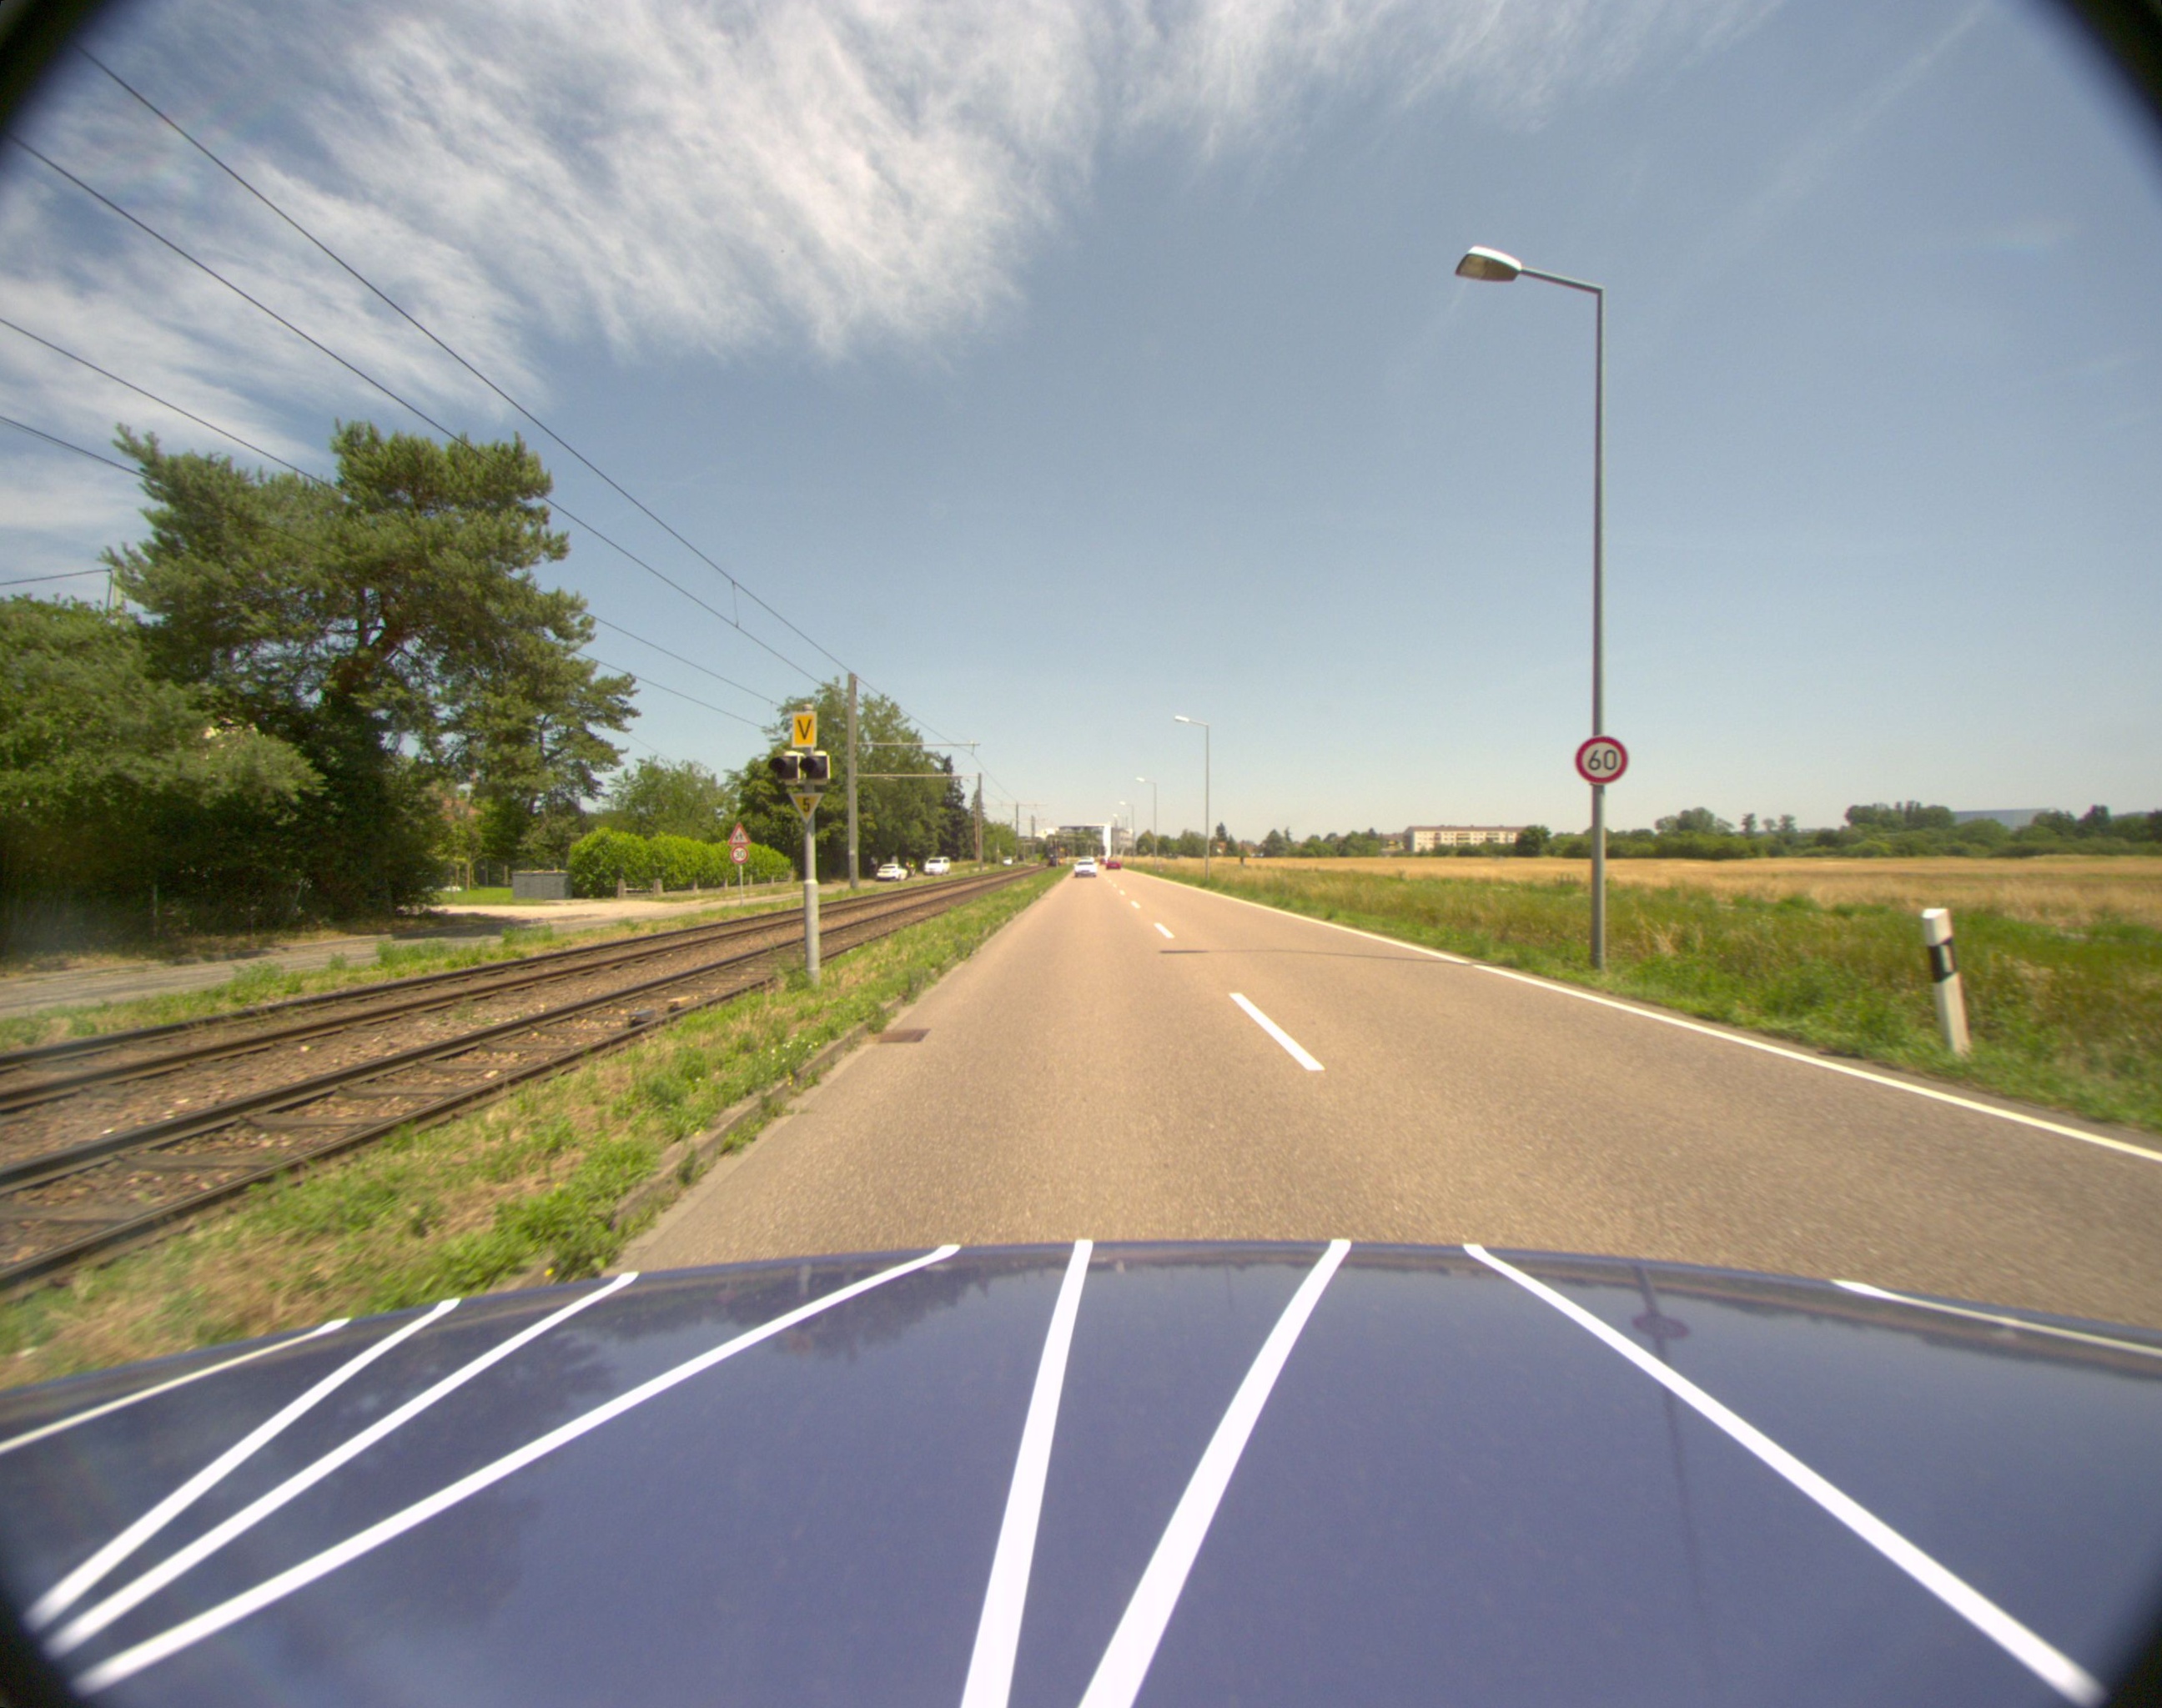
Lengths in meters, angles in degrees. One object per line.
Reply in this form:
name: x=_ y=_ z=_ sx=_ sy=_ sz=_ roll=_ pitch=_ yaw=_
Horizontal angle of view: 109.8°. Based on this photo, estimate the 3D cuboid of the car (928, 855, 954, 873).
car: x=-15.346 y=1.027 z=83.366 sx=1.863 sy=1.816 sz=4.587 roll=-2 pitch=0 yaw=1

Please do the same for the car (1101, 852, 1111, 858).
car: x=6.035 y=0.190 z=181.450 sx=2.254 sy=1.254 sz=3.889 roll=-2 pitch=0 yaw=1

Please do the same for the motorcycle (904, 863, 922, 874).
motorcycle: x=-16.144 y=1.376 z=73.257 sx=0.858 sy=0.902 sz=2.791 roll=-2 pitch=0 yaw=5

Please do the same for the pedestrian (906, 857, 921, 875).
pedestrian: x=-16.165 y=1.144 z=73.234 sx=1.171 sy=1.653 sz=0.880 roll=-2 pitch=1 yaw=5

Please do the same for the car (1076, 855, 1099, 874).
car: x=0.544 y=0.878 z=63.918 sx=1.856 sy=1.447 sz=3.706 roll=-2 pitch=0 yaw=1

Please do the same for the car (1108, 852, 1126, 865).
car: x=4.703 y=0.591 z=99.849 sx=2.254 sy=1.677 sz=3.889 roll=-2 pitch=1 yaw=1

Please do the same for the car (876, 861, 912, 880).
car: x=-15.630 y=1.347 z=63.708 sx=1.923 sy=1.376 sz=4.000 roll=-2 pitch=0 yaw=1

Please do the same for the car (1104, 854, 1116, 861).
car: x=5.715 y=0.630 z=151.962 sx=2.254 sy=1.254 sz=4.365 roll=-2 pitch=0 yaw=1

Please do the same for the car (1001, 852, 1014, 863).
car: x=-15.364 y=0.711 z=158.999 sx=1.944 sy=2.111 sz=4.587 roll=-2 pitch=1 yaw=1
